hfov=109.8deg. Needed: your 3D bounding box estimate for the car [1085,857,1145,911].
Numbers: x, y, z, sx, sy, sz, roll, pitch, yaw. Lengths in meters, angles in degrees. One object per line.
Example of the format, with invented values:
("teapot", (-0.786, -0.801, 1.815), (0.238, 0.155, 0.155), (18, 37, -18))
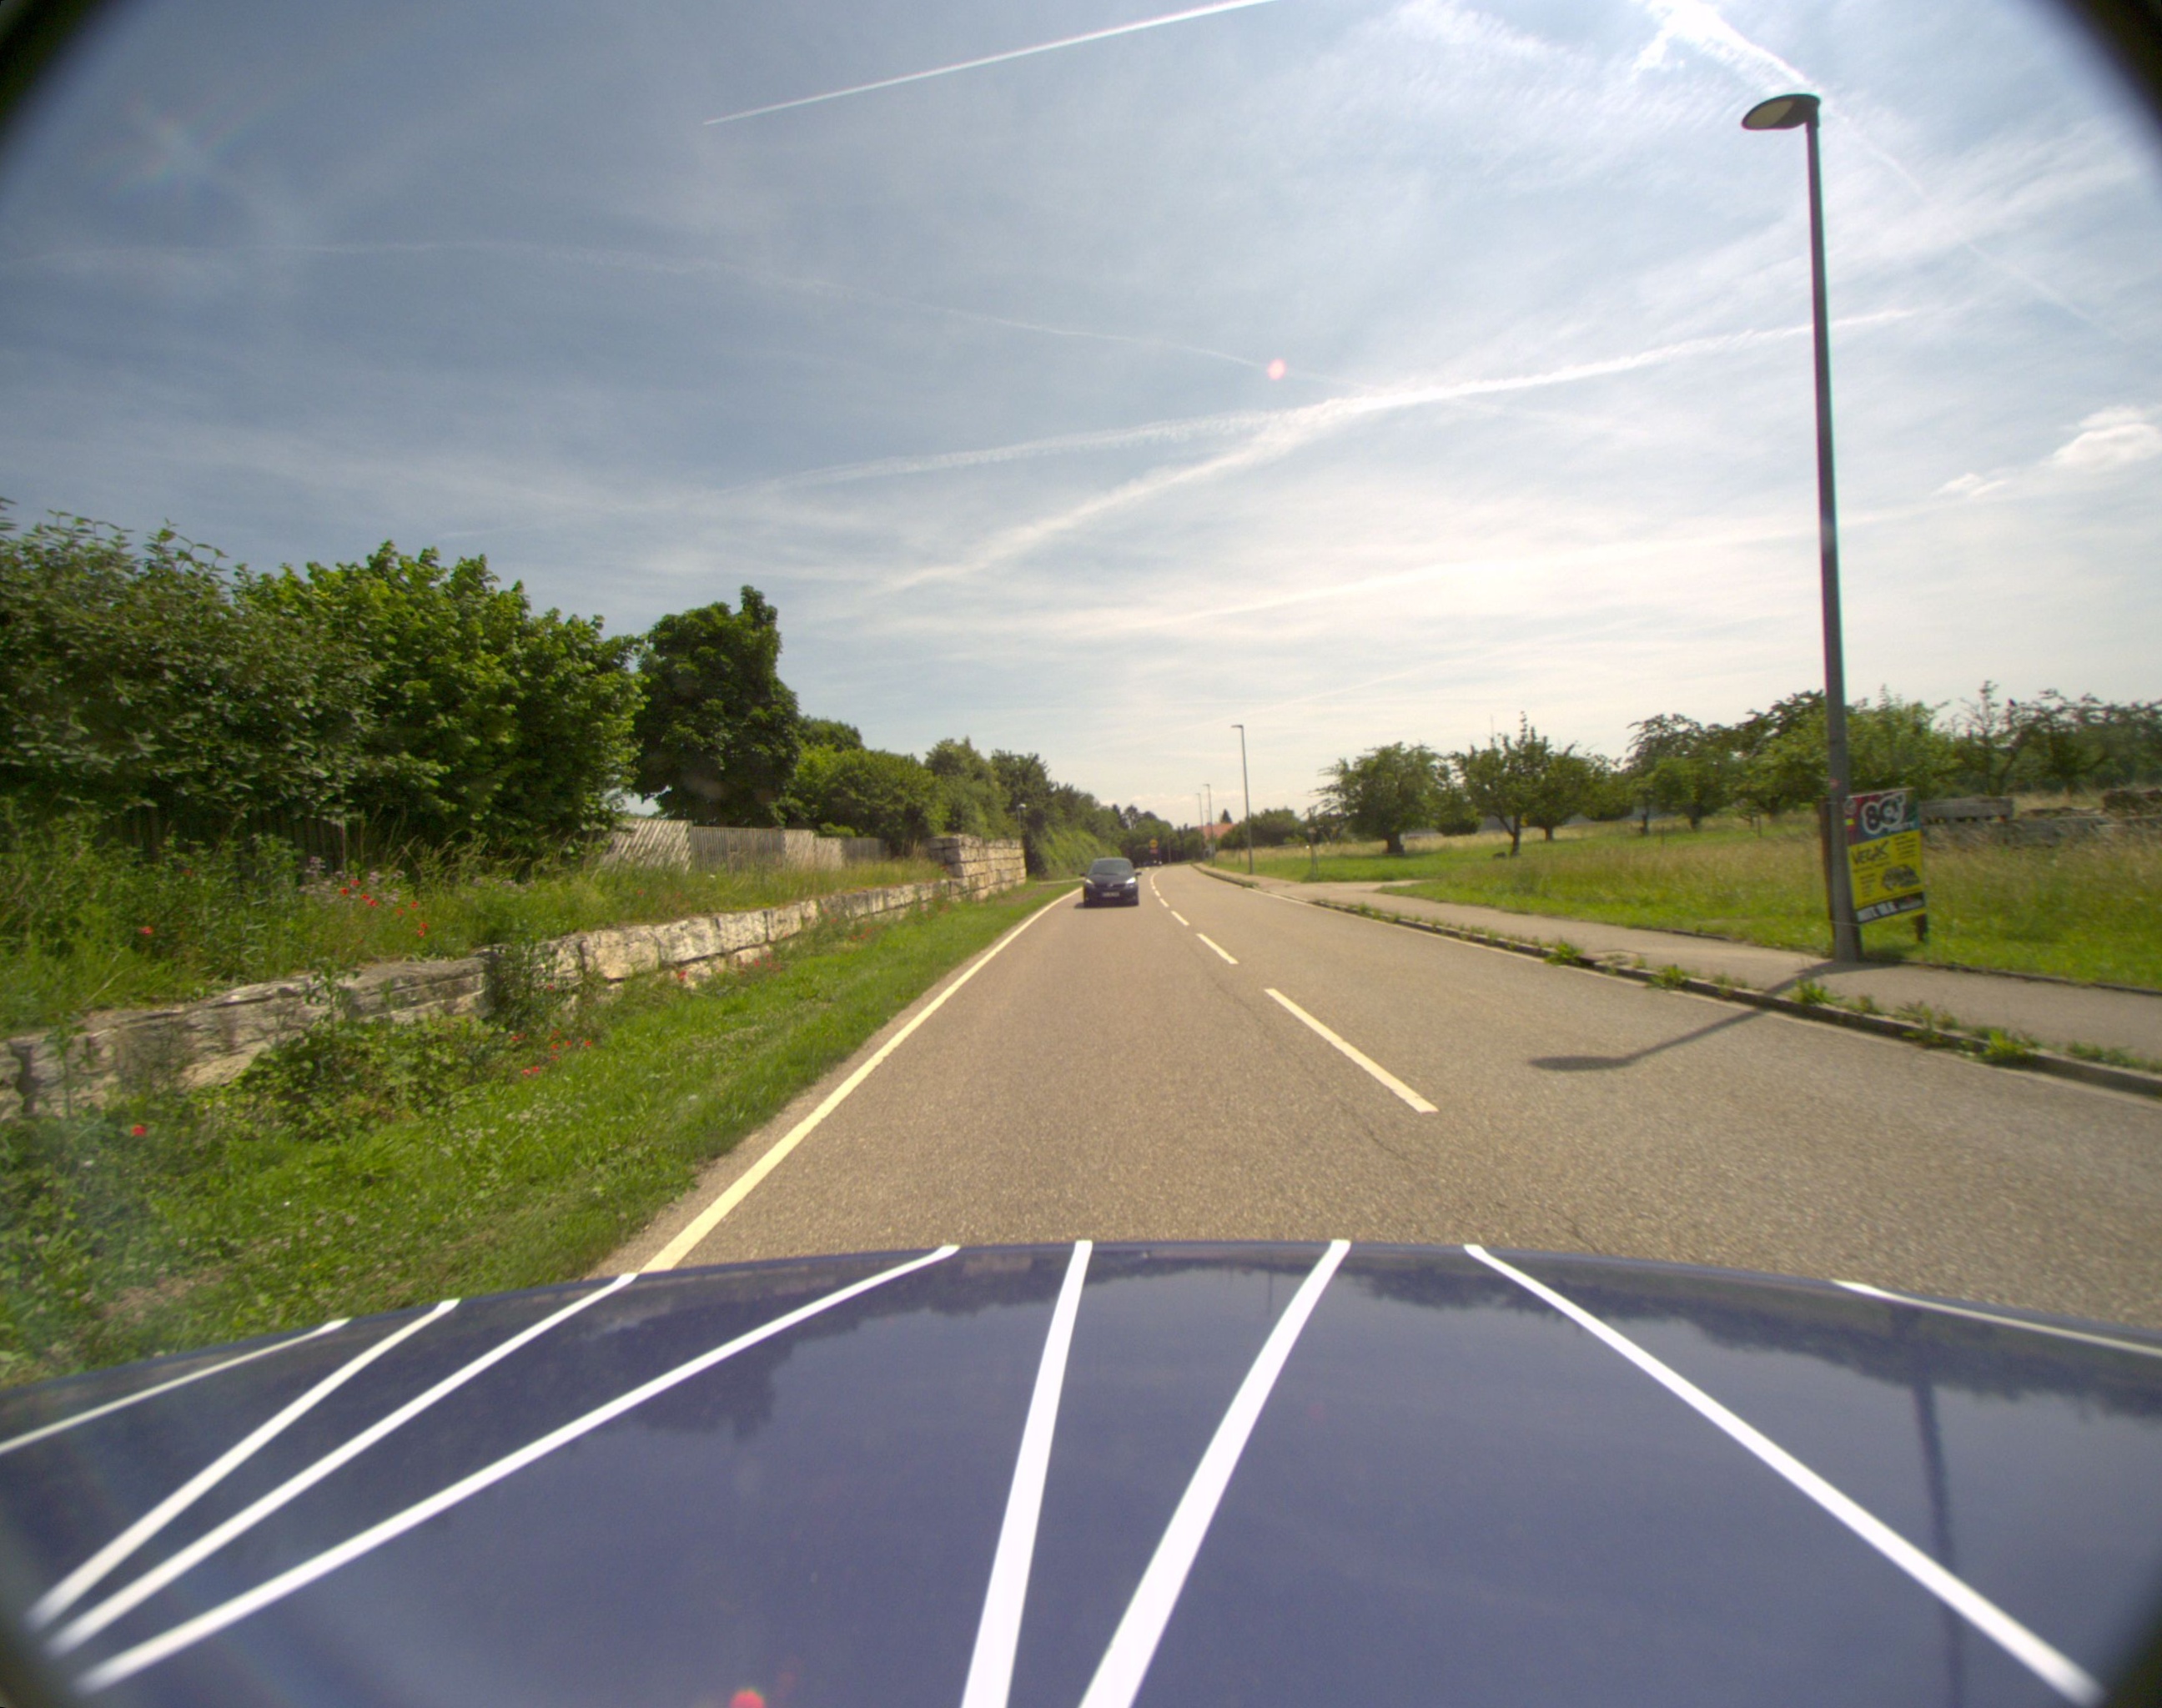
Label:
("car", (1.035, 0.880, 24.198), (1.677, 1.456, 4.433), (-3, 0, 1))
